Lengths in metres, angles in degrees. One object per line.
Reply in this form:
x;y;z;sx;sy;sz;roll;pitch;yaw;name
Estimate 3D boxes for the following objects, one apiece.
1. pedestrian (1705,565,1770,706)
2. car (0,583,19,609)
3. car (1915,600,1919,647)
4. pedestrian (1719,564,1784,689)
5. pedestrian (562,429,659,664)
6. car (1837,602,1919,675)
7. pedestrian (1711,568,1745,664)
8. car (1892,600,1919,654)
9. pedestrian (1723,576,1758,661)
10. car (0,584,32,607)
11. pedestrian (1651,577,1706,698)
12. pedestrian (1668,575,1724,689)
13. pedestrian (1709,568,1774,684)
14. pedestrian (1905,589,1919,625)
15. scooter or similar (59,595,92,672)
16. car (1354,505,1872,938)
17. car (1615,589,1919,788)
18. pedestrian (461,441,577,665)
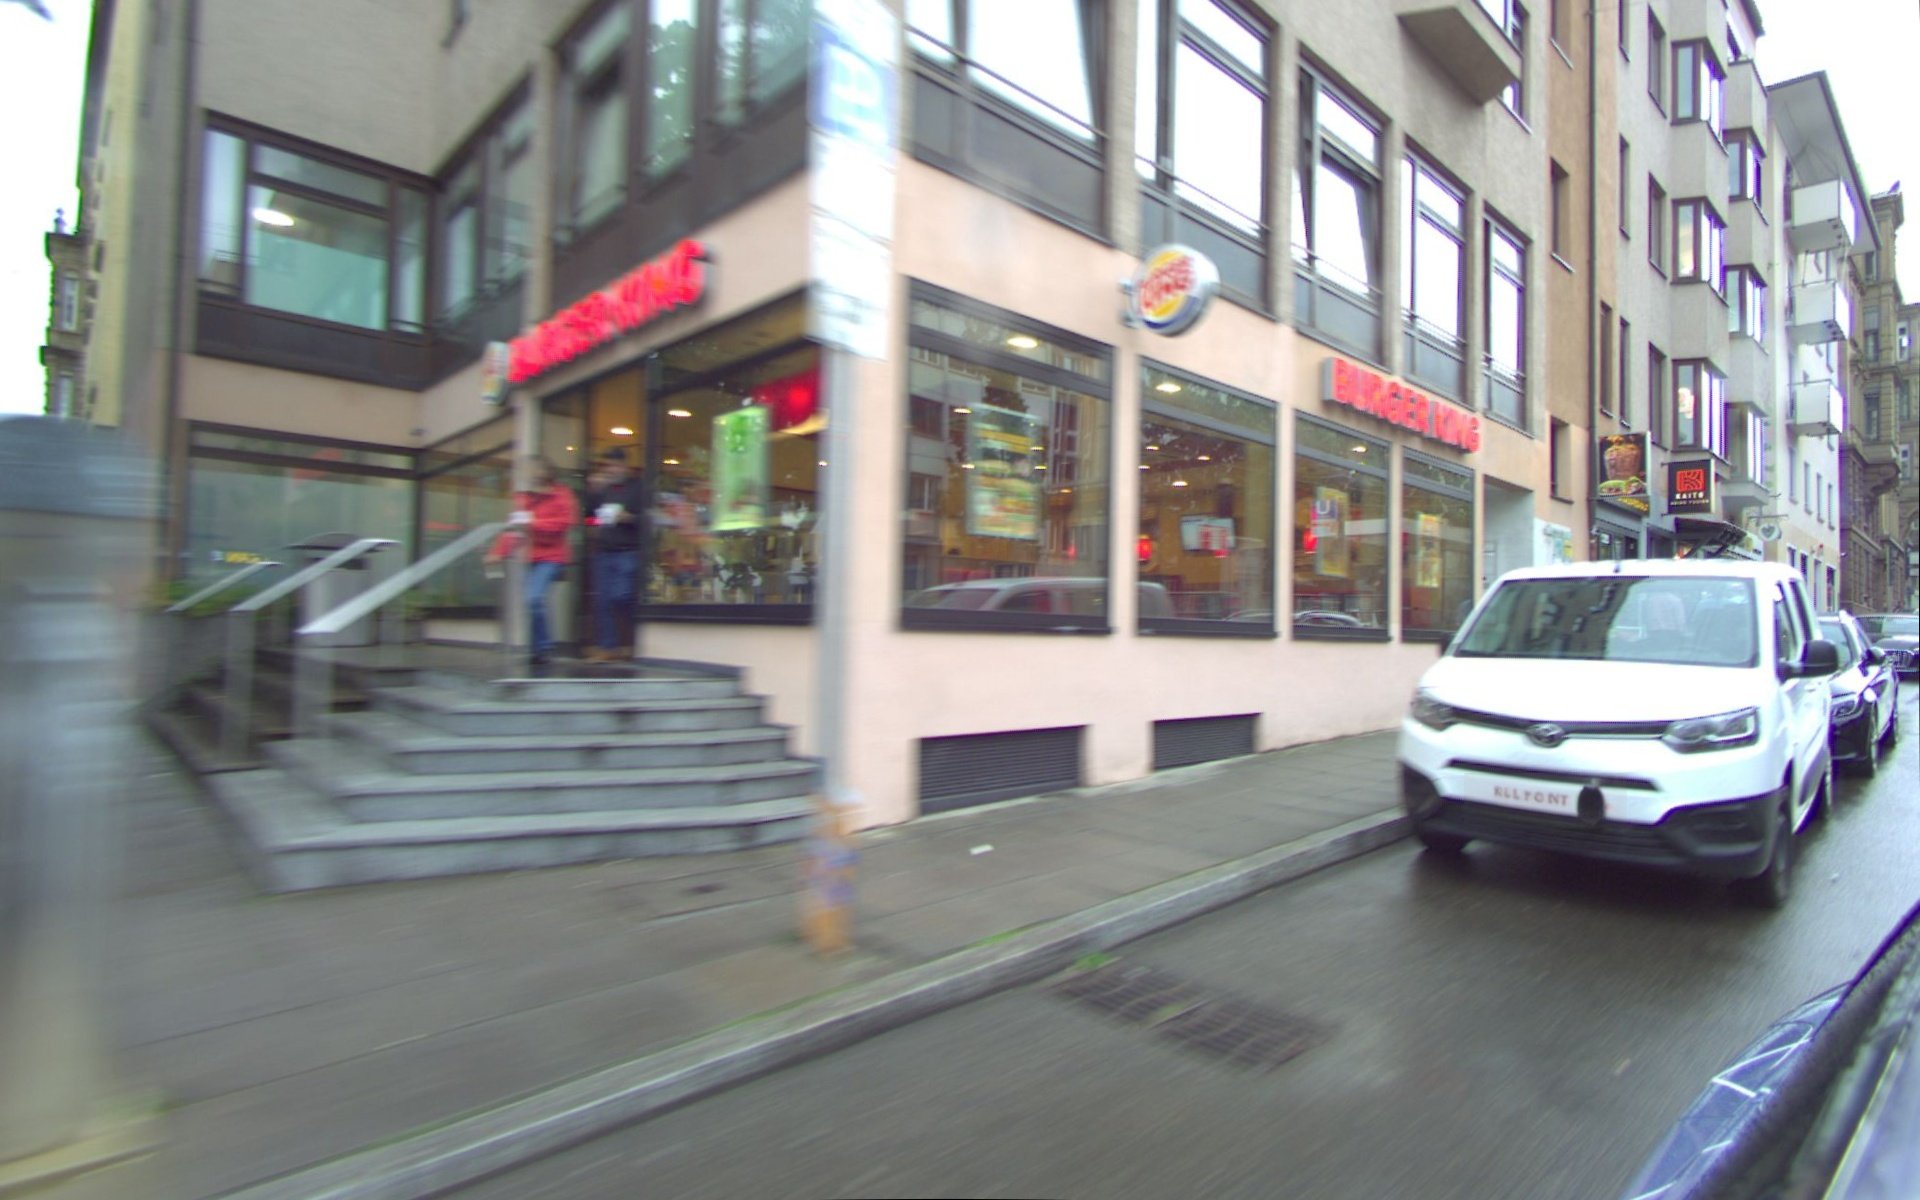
11.219;0.493;14.607;0.524;1.973;0.652;0;0;-41;pedestrian
-55.913;-0.237;58.797;1.644;1.474;3.668;0;0;-41;car
32.540;0.755;33.054;3.386;1.481;1.718;0;0;-43;car
12.331;0.395;15.773;0.641;1.878;0.696;0;0;-41;pedestrian
-2.849;-0.423;8.297;0.585;1.843;0.667;0;0;-2;pedestrian
21.139;0.791;22.656;4.175;1.481;1.908;0;0;-44;car
15.304;0.306;20.167;0.528;1.882;0.549;0;0;40;pedestrian
28.044;0.758;29.025;3.356;1.481;1.647;0;0;-43;car
15.897;0.367;20.609;0.544;1.702;0.587;0;0;40;pedestrian
-61.293;-0.310;65.538;1.644;1.474;3.668;0;0;-41;car
10.633;0.538;14.987;0.469;1.735;0.577;0;0;-41;pedestrian
11.479;0.484;15.782;0.571;1.735;0.611;0;0;-41;pedestrian
12.741;0.408;16.500;0.578;1.842;0.757;0;0;-41;pedestrian
43.844;0.320;46.599;0.487;1.666;0.621;0;0;43;pedestrian
-14.107;0.522;16.133;0.373;1.188;0.925;1;-1;-42;scooter or similar
4.526;0.501;6.627;1.907;1.829;4.700;0;0;45;car
8.556;0.716;10.531;4.339;1.636;1.909;0;0;-43;car
-3.436;-0.353;7.935;0.613;1.670;0.726;0;0;-2;pedestrian
